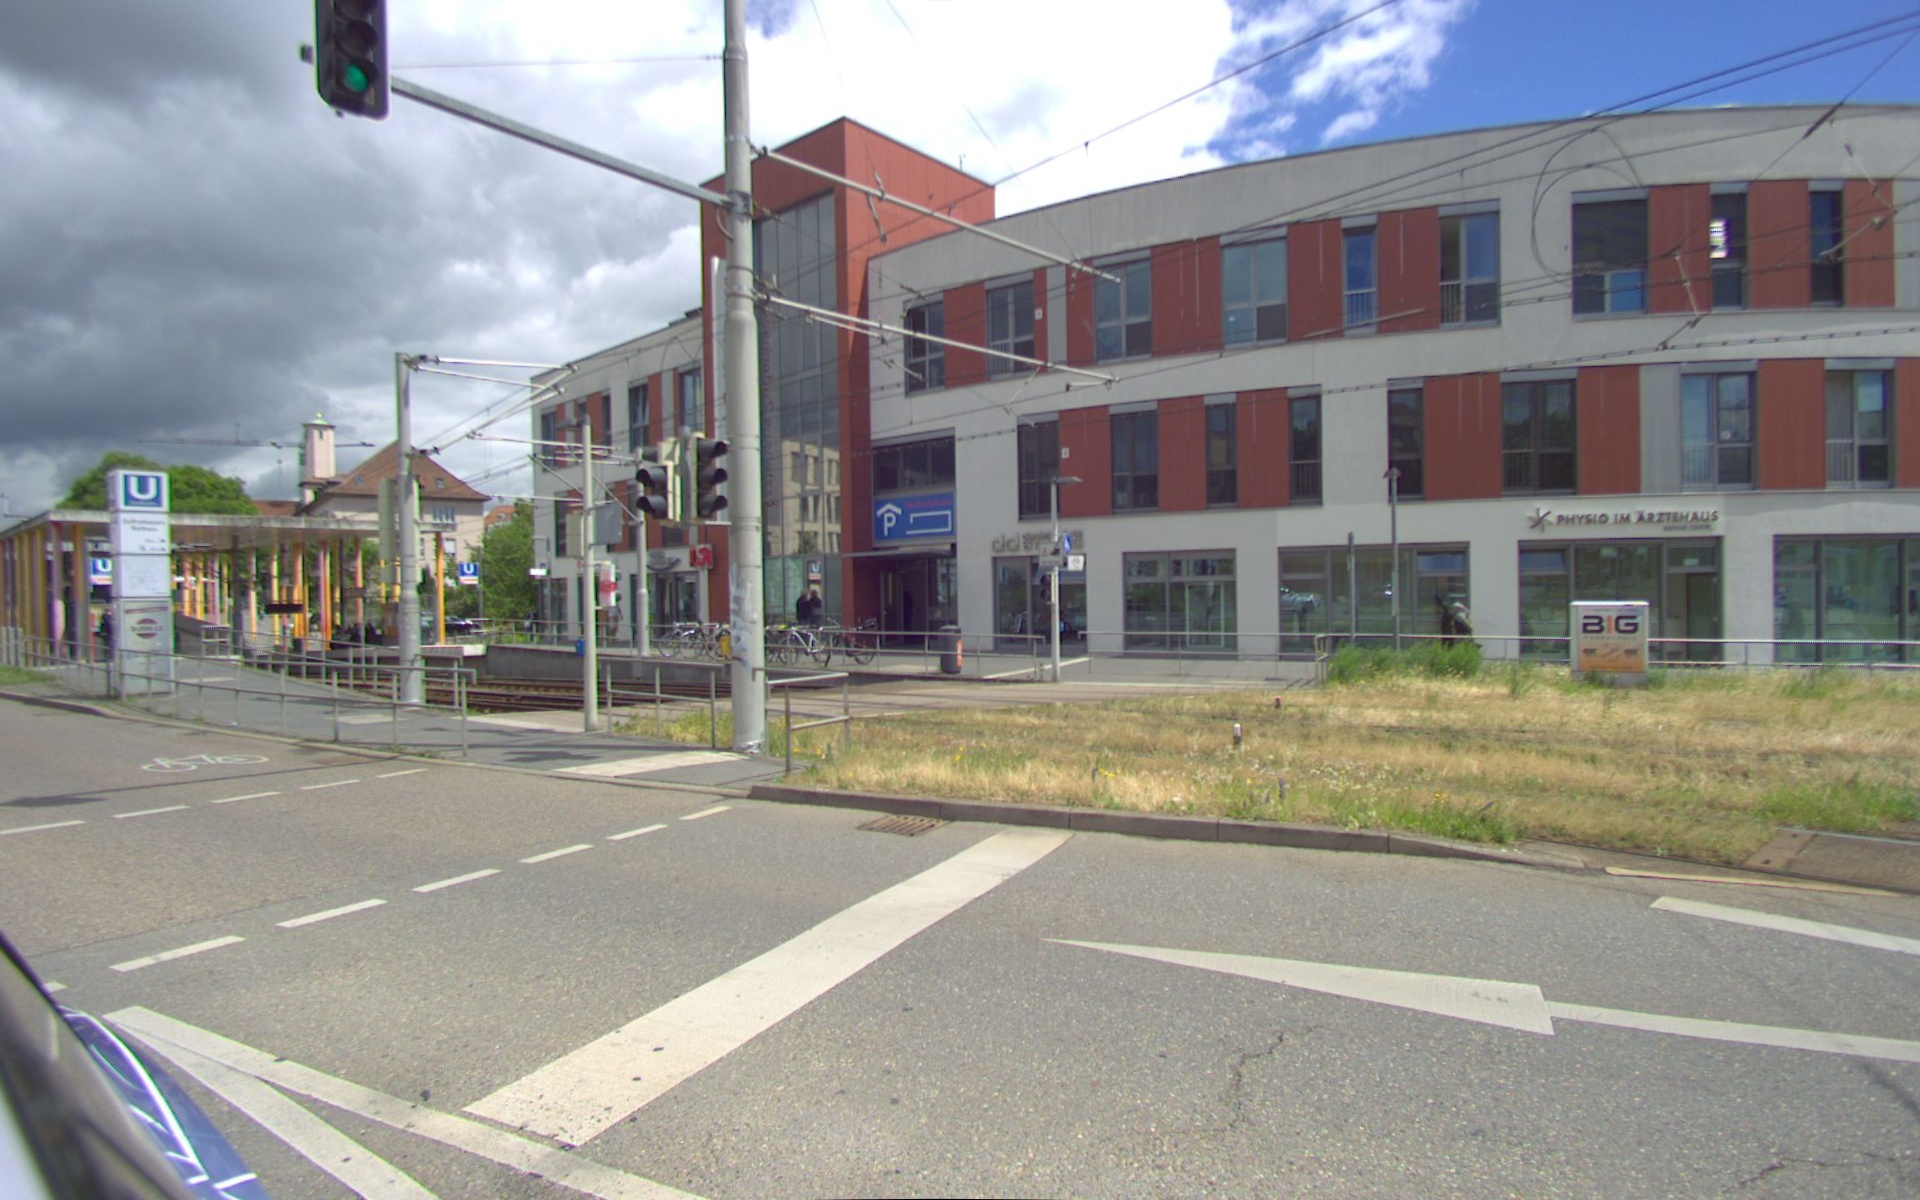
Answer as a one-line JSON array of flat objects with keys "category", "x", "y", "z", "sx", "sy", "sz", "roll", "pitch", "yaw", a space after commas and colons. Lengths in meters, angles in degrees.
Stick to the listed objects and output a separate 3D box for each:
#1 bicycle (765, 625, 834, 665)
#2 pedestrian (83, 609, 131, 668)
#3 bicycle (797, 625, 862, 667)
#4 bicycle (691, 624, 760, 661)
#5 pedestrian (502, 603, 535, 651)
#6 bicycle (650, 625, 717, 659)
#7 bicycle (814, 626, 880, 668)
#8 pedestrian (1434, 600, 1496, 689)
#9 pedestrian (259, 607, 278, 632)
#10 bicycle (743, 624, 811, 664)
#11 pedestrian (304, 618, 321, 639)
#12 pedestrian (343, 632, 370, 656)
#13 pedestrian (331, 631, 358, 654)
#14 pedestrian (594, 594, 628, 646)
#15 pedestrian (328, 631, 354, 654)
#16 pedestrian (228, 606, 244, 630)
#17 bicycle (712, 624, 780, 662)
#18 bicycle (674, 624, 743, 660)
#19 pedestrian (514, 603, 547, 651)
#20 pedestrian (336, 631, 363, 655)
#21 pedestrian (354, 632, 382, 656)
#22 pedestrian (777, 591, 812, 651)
[{"category": "bicycle", "x": -4.054, "y": 1.131, "z": 25.706, "sx": 0.454, "sy": 0.942, "sz": 1.837, "roll": -1, "pitch": 0, "yaw": 43}, {"category": "pedestrian", "x": -28.266, "y": 1.252, "z": 33.545, "sx": 0.864, "sy": 1.929, "sz": 1.090, "roll": 0, "pitch": -1, "yaw": 42}, {"category": "bicycle", "x": -3.223, "y": 1.131, "z": 25.079, "sx": 0.428, "sy": 0.965, "sz": 1.716, "roll": -1, "pitch": 0, "yaw": 43}, {"category": "bicycle", "x": -6.368, "y": 1.144, "z": 27.589, "sx": 1.835, "sy": 0.929, "sz": 0.455, "roll": 0, "pitch": 0, "yaw": -42}, {"category": "pedestrian", "x": -18.642, "y": 1.133, "z": 42.686, "sx": 1.105, "sy": 1.983, "sz": 0.853, "roll": 0, "pitch": -1, "yaw": 39}, {"category": "bicycle", "x": -7.873, "y": 1.184, "z": 28.836, "sx": 1.834, "sy": 0.888, "sz": 0.455, "roll": 0, "pitch": 0, "yaw": -41}, {"category": "bicycle", "x": -2.735, "y": 1.132, "z": 24.676, "sx": 0.428, "sy": 0.959, "sz": 1.716, "roll": -1, "pitch": 0, "yaw": 43}, {"category": "pedestrian", "x": 11.488, "y": 0.994, "z": 23.060, "sx": 1.106, "sy": 1.983, "sz": 0.860, "roll": 0, "pitch": -1, "yaw": 17}, {"category": "pedestrian", "x": -55.957, "y": 1.590, "z": 81.903, "sx": 1.112, "sy": 2.029, "sz": 1.180, "roll": 0, "pitch": -2, "yaw": -44}, {"category": "bicycle", "x": -4.737, "y": 1.120, "z": 26.341, "sx": 0.454, "sy": 0.970, "sz": 1.837, "roll": -1, "pitch": 0, "yaw": 43}, {"category": "pedestrian", "x": -45.514, "y": 2.031, "z": 71.155, "sx": 0.901, "sy": 1.461, "sz": 0.735, "roll": -2, "pitch": -1, "yaw": 38}, {"category": "pedestrian", "x": -29.394, "y": 2.122, "z": 49.275, "sx": 0.886, "sy": 1.143, "sz": 0.931, "roll": -2, "pitch": -1, "yaw": 42}, {"category": "pedestrian", "x": -30.801, "y": 2.128, "z": 50.628, "sx": 0.886, "sy": 1.143, "sz": 0.931, "roll": -2, "pitch": -1, "yaw": 42}, {"category": "pedestrian", "x": -13.669, "y": 0.786, "z": 39.627, "sx": 1.106, "sy": 1.983, "sz": 0.852, "roll": 0, "pitch": -1, "yaw": 43}, {"category": "pedestrian", "x": -31.299, "y": 2.130, "z": 51.161, "sx": 0.886, "sy": 1.143, "sz": 0.931, "roll": -2, "pitch": -1, "yaw": 42}, {"category": "pedestrian", "x": -62.650, "y": 1.548, "z": 87.608, "sx": 1.110, "sy": 2.029, "sz": 1.461, "roll": 0, "pitch": -1, "yaw": -36}, {"category": "bicycle", "x": -5.695, "y": 1.131, "z": 26.989, "sx": 1.836, "sy": 0.946, "sz": 0.455, "roll": 0, "pitch": 0, "yaw": -45}, {"category": "bicycle", "x": -6.980, "y": 1.147, "z": 28.148, "sx": 1.835, "sy": 0.939, "sz": 0.455, "roll": 0, "pitch": 0, "yaw": -41}, {"category": "pedestrian", "x": -18.269, "y": 1.143, "z": 43.030, "sx": 1.105, "sy": 1.983, "sz": 0.853, "roll": 0, "pitch": -1, "yaw": 39}, {"category": "pedestrian", "x": -30.111, "y": 2.124, "z": 49.910, "sx": 0.886, "sy": 1.143, "sz": 0.931, "roll": -2, "pitch": -1, "yaw": 42}, {"category": "pedestrian", "x": -28.545, "y": 2.122, "z": 48.800, "sx": 0.886, "sy": 1.143, "sz": 0.931, "roll": -2, "pitch": -1, "yaw": 42}, {"category": "pedestrian", "x": -5.309, "y": 0.657, "z": 32.486, "sx": 0.856, "sy": 1.859, "sz": 0.876, "roll": 0, "pitch": 1, "yaw": 13}]
